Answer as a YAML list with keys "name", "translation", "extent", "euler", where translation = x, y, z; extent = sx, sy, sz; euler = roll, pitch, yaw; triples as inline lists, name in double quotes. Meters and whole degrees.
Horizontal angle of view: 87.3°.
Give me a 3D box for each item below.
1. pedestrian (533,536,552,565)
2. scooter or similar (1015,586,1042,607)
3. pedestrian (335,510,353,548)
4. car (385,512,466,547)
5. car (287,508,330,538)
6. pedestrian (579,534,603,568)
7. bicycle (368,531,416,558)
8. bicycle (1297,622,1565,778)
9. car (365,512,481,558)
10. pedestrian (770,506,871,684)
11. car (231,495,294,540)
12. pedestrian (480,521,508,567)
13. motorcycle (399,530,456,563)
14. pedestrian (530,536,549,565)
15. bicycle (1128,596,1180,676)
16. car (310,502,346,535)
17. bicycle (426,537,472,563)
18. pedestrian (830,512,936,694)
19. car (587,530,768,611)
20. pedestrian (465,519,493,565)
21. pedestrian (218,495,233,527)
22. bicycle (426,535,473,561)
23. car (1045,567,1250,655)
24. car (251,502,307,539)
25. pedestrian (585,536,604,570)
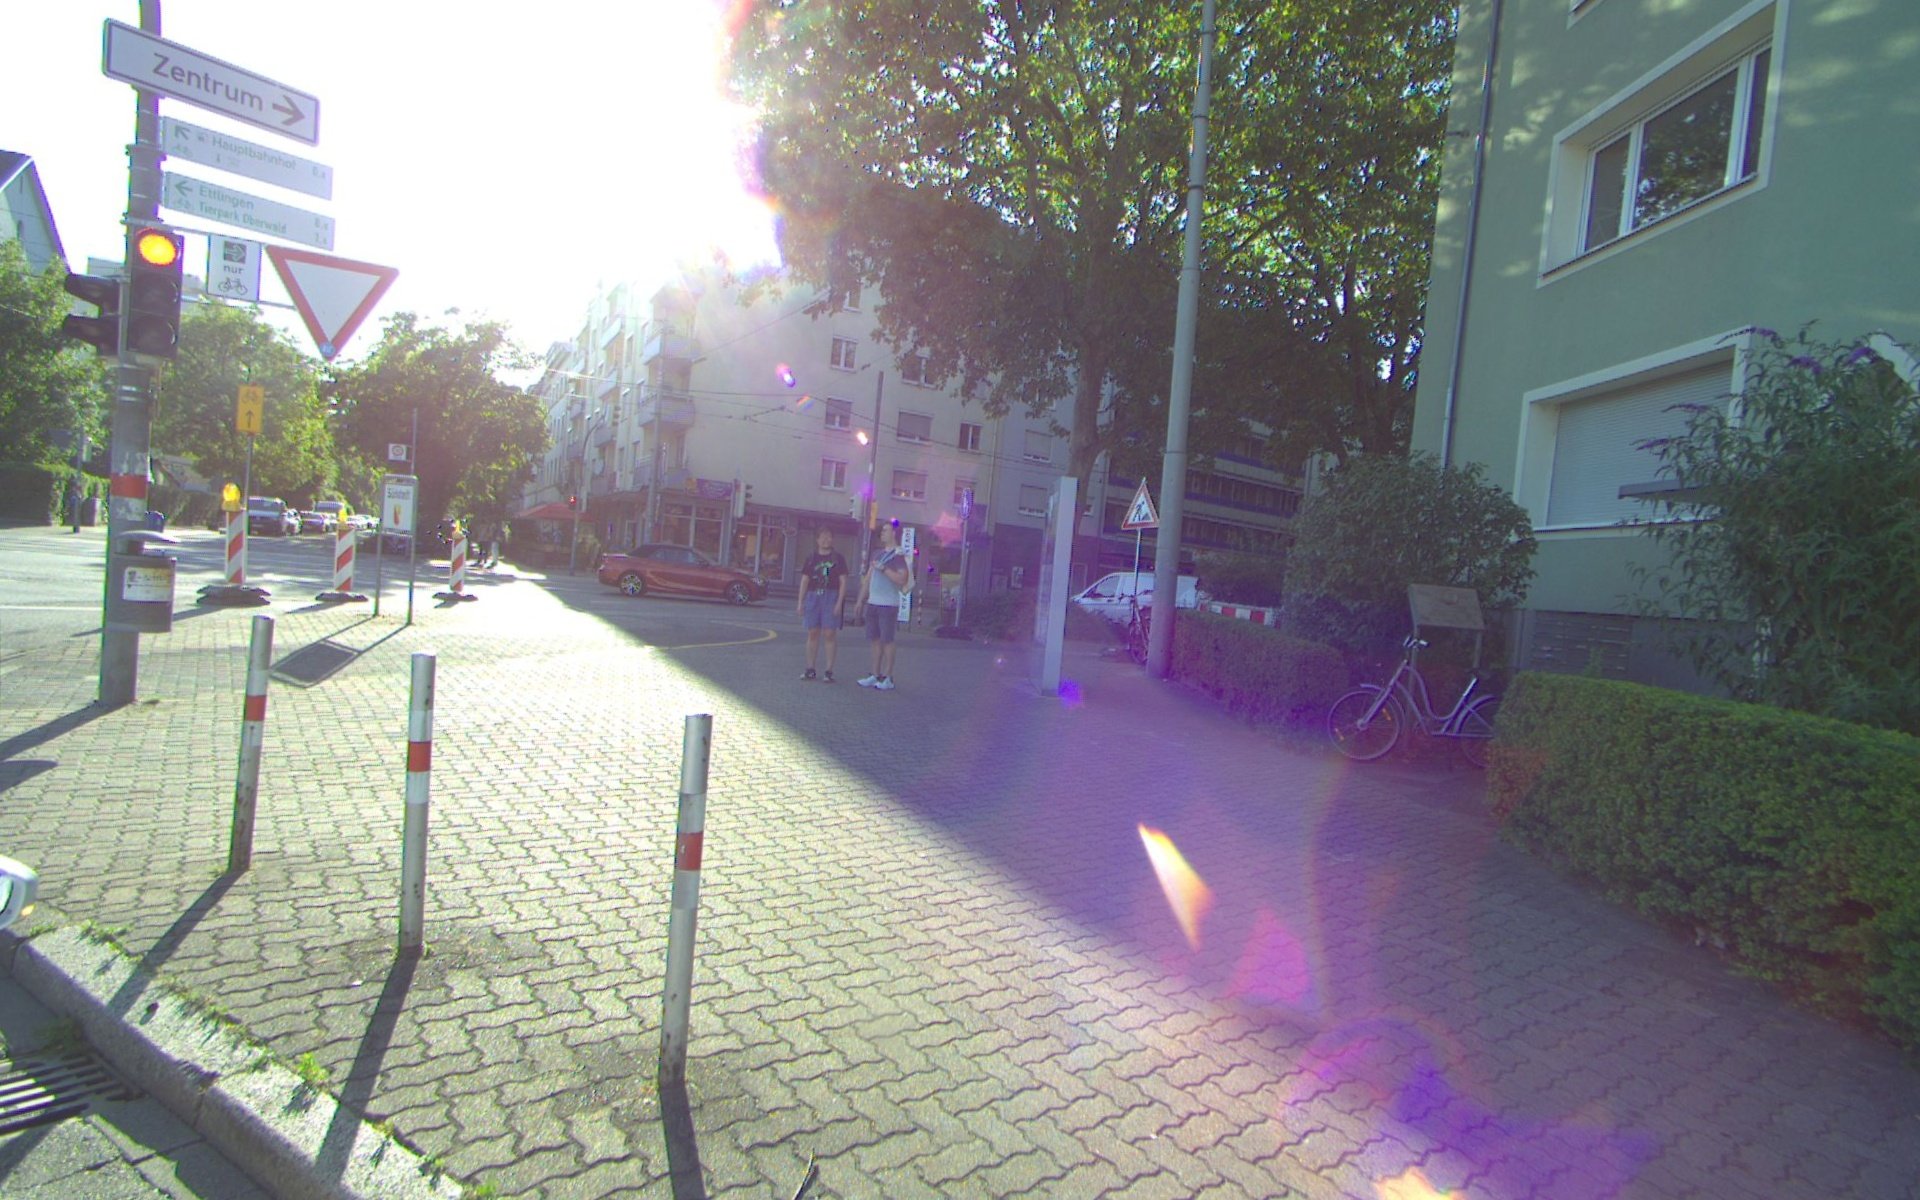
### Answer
- name: "pedestrian"
  translation: [-20.822, -2.487, 50.200]
  extent: [0.803, 1.381, 0.908]
  euler: [4, 2, -24]
- name: "scooter or similar"
  translation: [3.544, -0.184, 52.135]
  extent: [1.421, 0.966, 0.462]
  euler: [4, 3, -44]
- name: "pedestrian"
  translation: [-31.599, -3.654, 51.576]
  extent: [0.656, 1.863, 0.677]
  euler: [4, 3, -30]
- name: "car"
  translation: [-39.354, -5.151, 74.113]
  extent: [5.050, 1.948, 2.344]
  euler: [5, 0, -32]
- name: "car"
  translation: [-47.040, -5.579, 72.765]
  extent: [2.336, 1.818, 5.265]
  euler: [4, 2, -31]
- name: "pedestrian"
  translation: [-18.233, -2.413, 49.709]
  extent: [0.806, 1.565, 0.905]
  euler: [3, 3, -35]
- name: "bicycle"
  translation: [-23.702, -2.334, 42.010]
  extent: [1.708, 0.945, 0.667]
  euler: [5, 2, -29]
- name: "bicycle"
  translation: [3.954, 0.823, 8.546]
  extent: [1.897, 1.071, 0.521]
  euler: [6, 2, 5]
- name: "car"
  translation: [-30.229, -3.582, 56.672]
  extent: [5.576, 1.948, 2.343]
  euler: [5, 0, -32]
- name: "pedestrian"
  translation: [-1.474, -0.056, 10.721]
  extent: [0.680, 1.774, 0.794]
  euler: [6, 2, 13]
- name: "car"
  translation: [-37.332, -4.398, 53.982]
  extent: [2.336, 2.040, 5.265]
  euler: [4, 2, -31]
- name: "pedestrian"
  translation: [-18.590, -2.218, 40.153]
  extent: [0.681, 1.774, 0.793]
  euler: [5, 2, -8]
- name: "motorcycle"
  translation: [-21.642, -2.165, 40.878]
  extent: [1.938, 1.124, 0.829]
  euler: [4, 2, -34]
- name: "pedestrian"
  translation: [-21.462, -2.526, 51.355]
  extent: [0.803, 1.381, 0.908]
  euler: [4, 2, -23]
- name: "bicycle"
  translation: [2.866, 0.496, 15.000]
  extent: [0.511, 1.071, 1.933]
  euler: [6, 1, 7]
- name: "car"
  translation: [-54.393, -6.979, 86.629]
  extent: [2.336, 2.548, 5.265]
  euler: [4, 2, -31]
- name: "bicycle"
  translation: [-21.974, -2.167, 43.274]
  extent: [1.708, 0.945, 0.557]
  euler: [5, 2, -29]
- name: "pedestrian"
  translation: [-0.791, 0.027, 10.518]
  extent: [0.680, 1.774, 0.794]
  euler: [6, 2, 21]
- name: "car"
  translation: [-7.306, -0.758, 26.413]
  extent: [4.319, 1.584, 1.895]
  euler: [6, 1, -12]
- name: "pedestrian"
  translation: [-19.421, -2.338, 40.637]
  extent: [0.706, 1.774, 0.793]
  euler: [5, 2, -7]
- name: "pedestrian"
  translation: [-41.453, -5.012, 56.749]
  extent: [0.575, 1.754, 0.602]
  euler: [4, 3, -34]
- name: "bicycle"
  translation: [-21.604, -2.190, 42.602]
  extent: [1.708, 0.945, 0.557]
  euler: [5, 2, -29]
- name: "car"
  translation: [4.711, 0.225, 26.129]
  extent: [1.913, 1.849, 5.185]
  euler: [5, 0, -37]
- name: "car"
  translation: [-40.163, -4.680, 59.454]
  extent: [2.336, 1.818, 5.265]
  euler: [4, 2, -31]
- name: "pedestrian"
  translation: [-17.832, -2.286, 49.041]
  extent: [0.472, 1.613, 0.615]
  euler: [8, 3, 45]
